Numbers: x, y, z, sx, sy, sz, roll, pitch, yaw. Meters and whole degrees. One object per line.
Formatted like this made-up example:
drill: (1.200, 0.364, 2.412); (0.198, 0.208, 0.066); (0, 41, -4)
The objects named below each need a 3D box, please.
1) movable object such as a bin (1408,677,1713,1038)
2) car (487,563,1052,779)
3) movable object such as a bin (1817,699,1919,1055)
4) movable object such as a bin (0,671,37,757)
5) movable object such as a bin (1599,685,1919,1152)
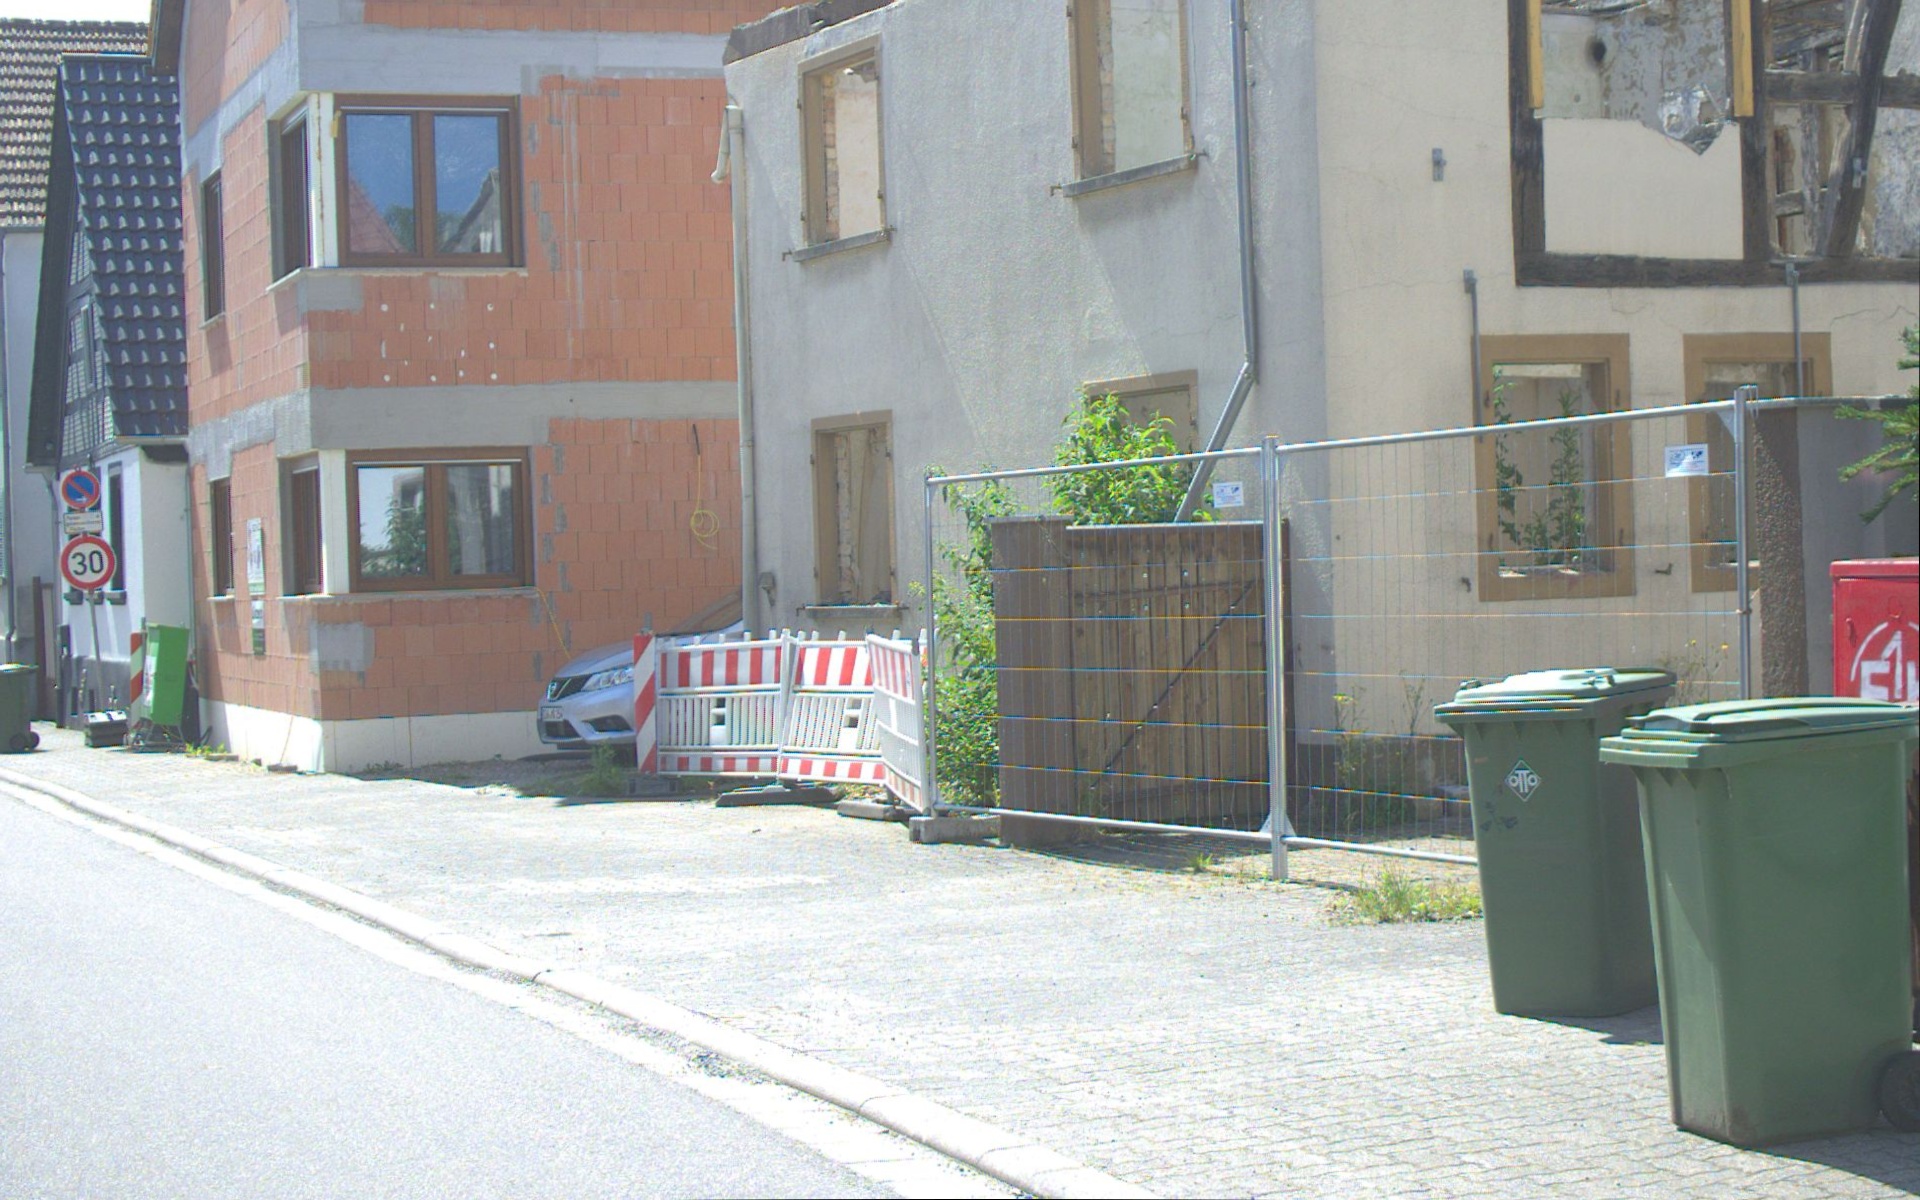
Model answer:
movable object such as a bin: (1.917, 0.793, 10.949); (0.671, 1.068, 0.760); (-1, 0, 36)
car: (-1.526, 0.535, 27.652); (4.088, 1.502, 1.870); (-2, 0, -27)
movable object such as a bin: (2.804, 0.778, 9.875); (0.465, 0.967, 0.496); (-1, 0, -14)
movable object such as a bin: (-10.387, 1.242, 37.454); (0.538, 0.910, 0.552); (-1, 0, -5)
movable object such as a bin: (2.071, 0.778, 8.668); (0.686, 1.088, 0.638); (-1, 0, -13)
